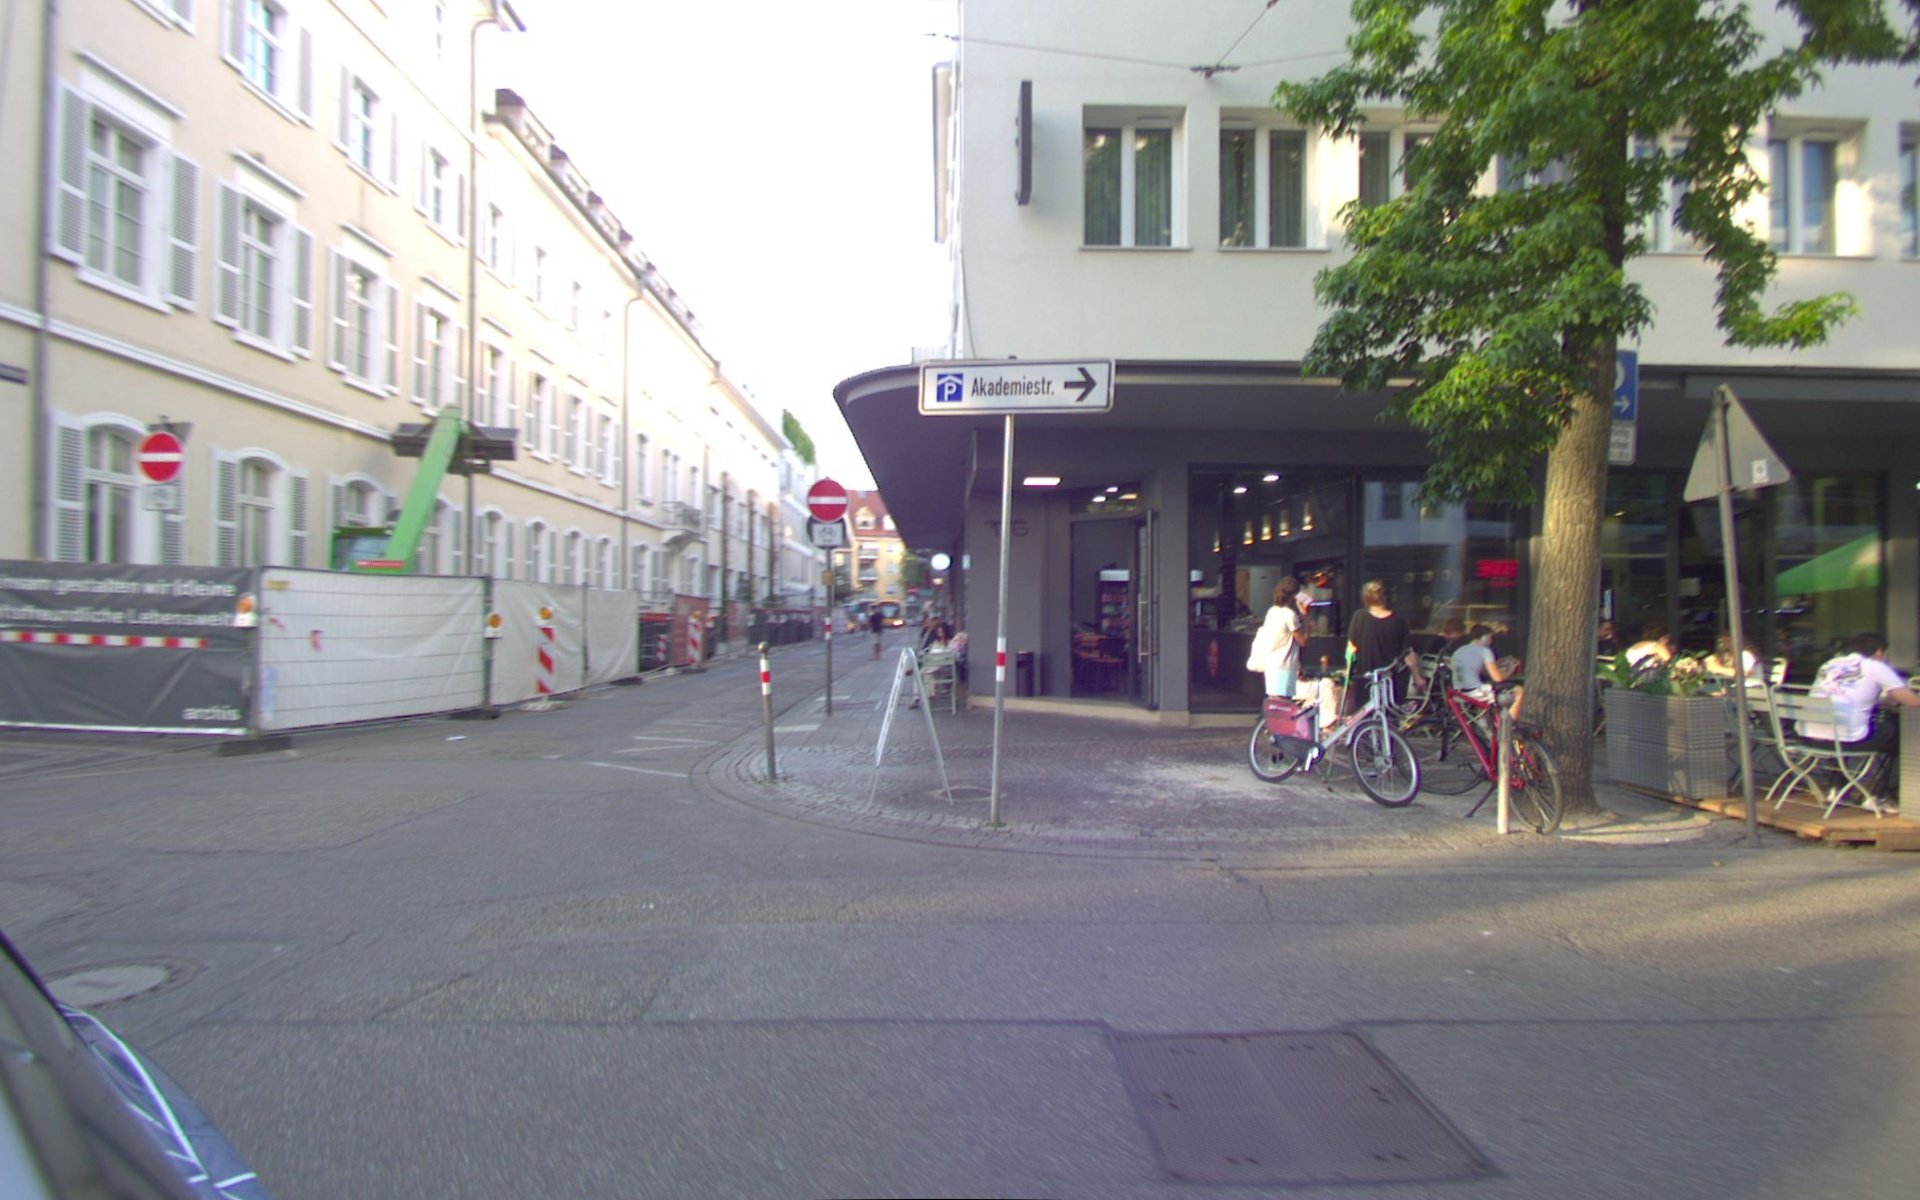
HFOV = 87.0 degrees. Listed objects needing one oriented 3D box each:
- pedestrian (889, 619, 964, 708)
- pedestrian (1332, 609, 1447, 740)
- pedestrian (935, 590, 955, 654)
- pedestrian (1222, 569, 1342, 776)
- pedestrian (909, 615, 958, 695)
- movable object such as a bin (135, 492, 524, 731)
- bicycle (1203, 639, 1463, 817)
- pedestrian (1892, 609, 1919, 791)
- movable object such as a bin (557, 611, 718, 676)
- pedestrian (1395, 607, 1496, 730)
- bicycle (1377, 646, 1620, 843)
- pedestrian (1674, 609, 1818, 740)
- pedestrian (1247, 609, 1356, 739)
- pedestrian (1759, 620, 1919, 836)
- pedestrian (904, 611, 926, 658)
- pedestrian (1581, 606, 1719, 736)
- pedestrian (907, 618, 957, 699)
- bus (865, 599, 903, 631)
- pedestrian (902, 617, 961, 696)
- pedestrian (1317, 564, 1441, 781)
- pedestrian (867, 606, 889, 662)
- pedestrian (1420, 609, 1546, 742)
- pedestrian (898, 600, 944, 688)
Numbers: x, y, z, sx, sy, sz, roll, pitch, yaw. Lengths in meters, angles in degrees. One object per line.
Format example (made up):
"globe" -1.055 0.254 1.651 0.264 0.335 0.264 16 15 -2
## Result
"pedestrian" -0.478 0.892 14.541 0.705 1.228 0.832 -1 -1 36
"pedestrian" 4.586 0.768 10.864 0.870 1.330 0.850 1 0 2
"pedestrian" -0.438 0.628 29.030 0.538 1.824 0.613 1 -1 -2
"pedestrian" 2.877 0.613 9.076 0.631 1.754 0.784 1 0 -32
"pedestrian" -0.435 0.899 16.705 0.697 1.249 0.777 -4 -1 2
"movable object such as a bin" -8.893 0.200 15.167 2.604 2.894 5.570 1 -1 -4
"bicycle" 2.882 0.930 8.040 0.767 1.147 1.872 1 0 -29
"pedestrian" 7.717 0.758 7.514 0.911 1.372 0.718 0 0 0
"movable object such as a bin" -9.346 1.236 30.261 2.857 1.677 7.299 1 -2 -3
"pedestrian" 5.485 0.755 11.462 0.830 1.330 0.624 1 0 2
"bicycle" 3.779 0.954 7.305 0.617 1.147 1.869 1 0 -5
"pedestrian" 8.413 0.774 10.869 0.870 1.330 0.850 1 0 2
"pedestrian" 3.669 0.772 10.955 0.869 1.330 0.888 1 0 1
"pedestrian" 6.157 0.841 6.942 0.781 1.387 0.695 0 0 0
"pedestrian" -1.544 1.173 34.897 0.700 1.590 0.614 -2 -1 -5
"pedestrian" 7.431 0.740 10.940 0.869 1.330 0.888 1 0 1
"pedestrian" -0.434 0.904 15.839 0.697 1.204 0.691 -3 -1 1
"bus" -8.447 1.621 114.533 3.868 3.350 12.541 1 0 -3
"pedestrian" -0.499 0.939 17.198 0.694 1.296 0.864 0 -1 -26
"pedestrian" 3.581 0.583 8.657 0.632 1.754 0.782 1 0 -44
"pedestrian" -2.701 1.118 33.408 0.696 1.795 0.933 -1 -1 -2
"pedestrian" 5.525 0.770 10.744 0.869 1.330 0.888 1 0 1
"pedestrian" -0.704 0.799 18.444 0.697 1.559 0.859 -1 -1 6
